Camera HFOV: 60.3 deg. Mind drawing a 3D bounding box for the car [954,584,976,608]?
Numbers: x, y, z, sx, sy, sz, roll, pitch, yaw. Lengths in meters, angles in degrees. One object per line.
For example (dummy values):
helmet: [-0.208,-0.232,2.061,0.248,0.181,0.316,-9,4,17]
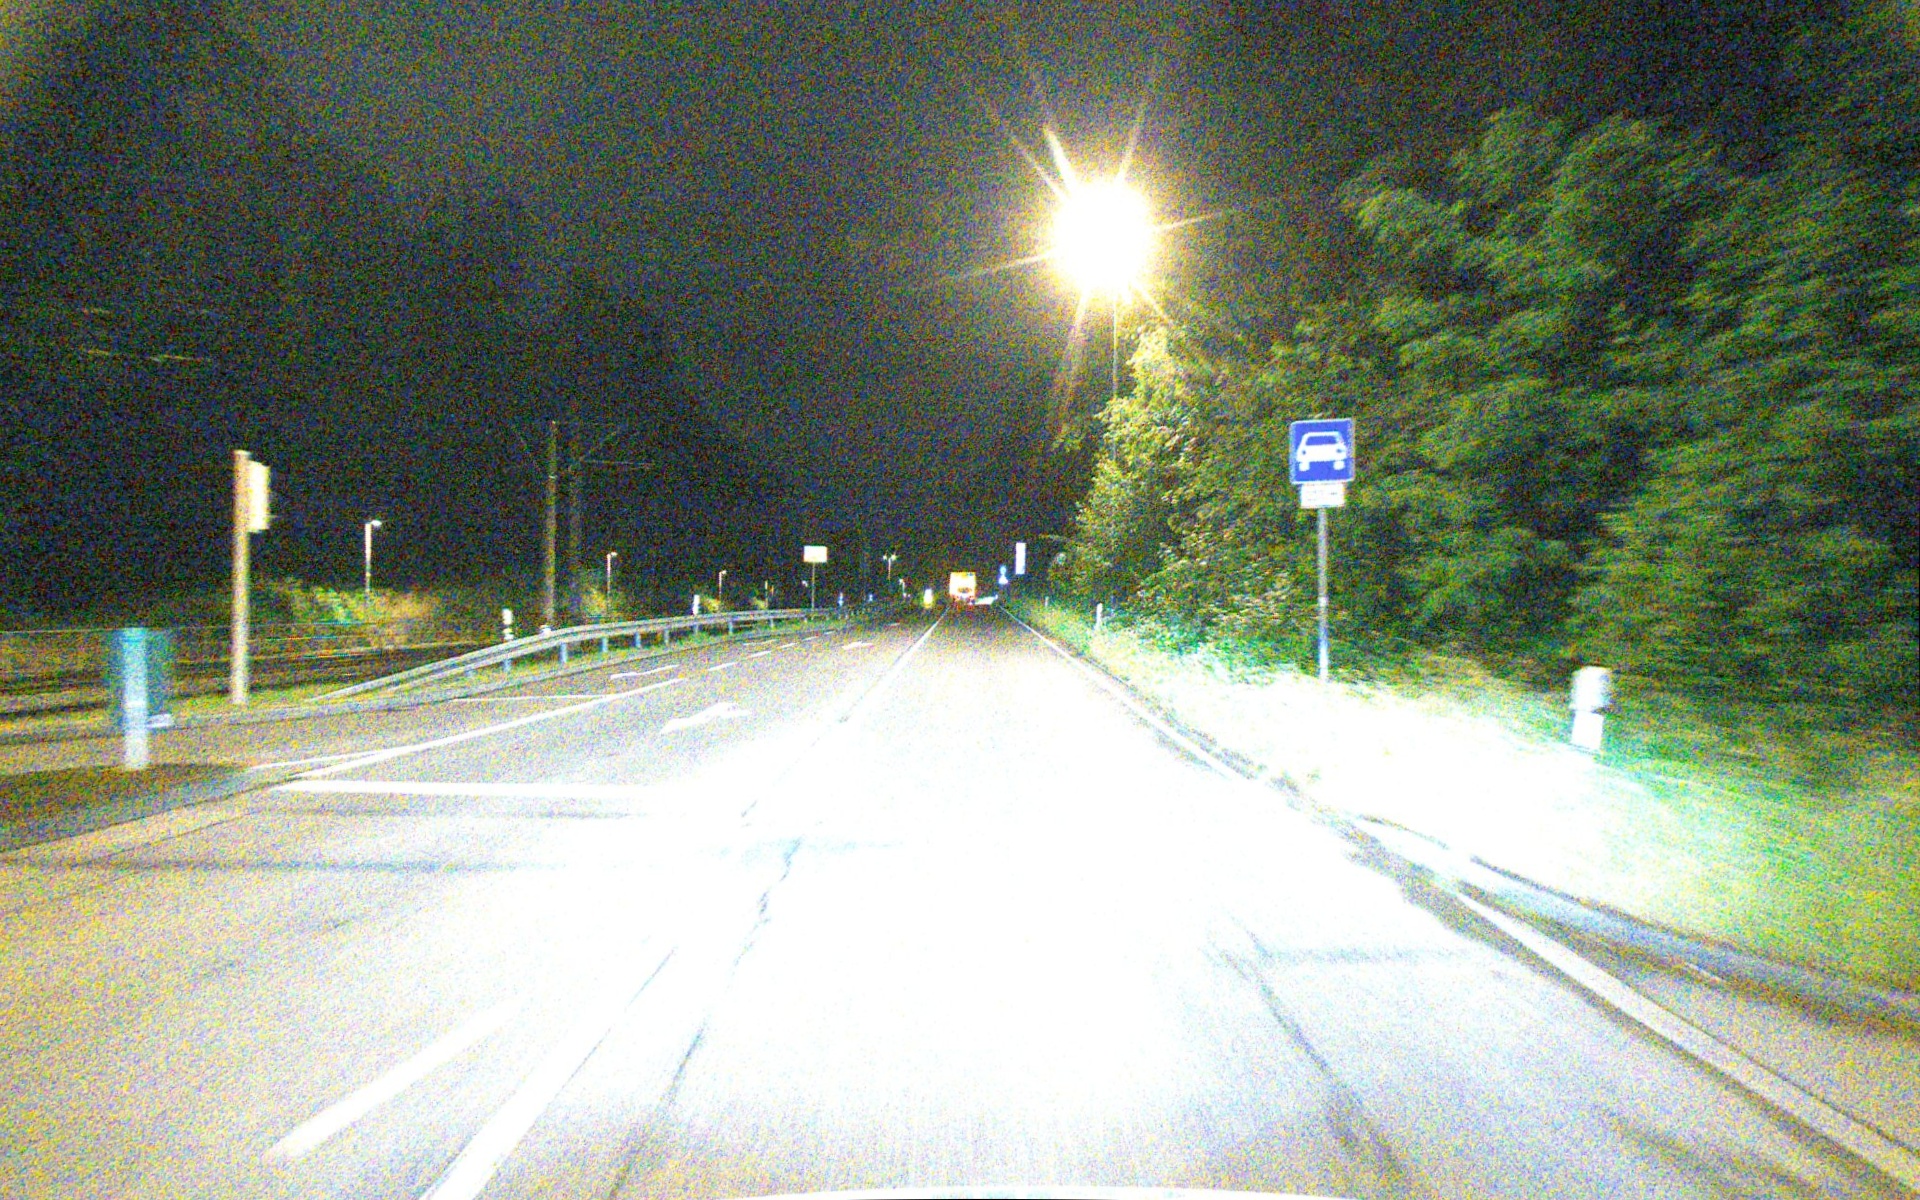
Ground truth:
car: [0.487,-0.383,155.865,1.953,2.049,3.998,2,-3,-1]
